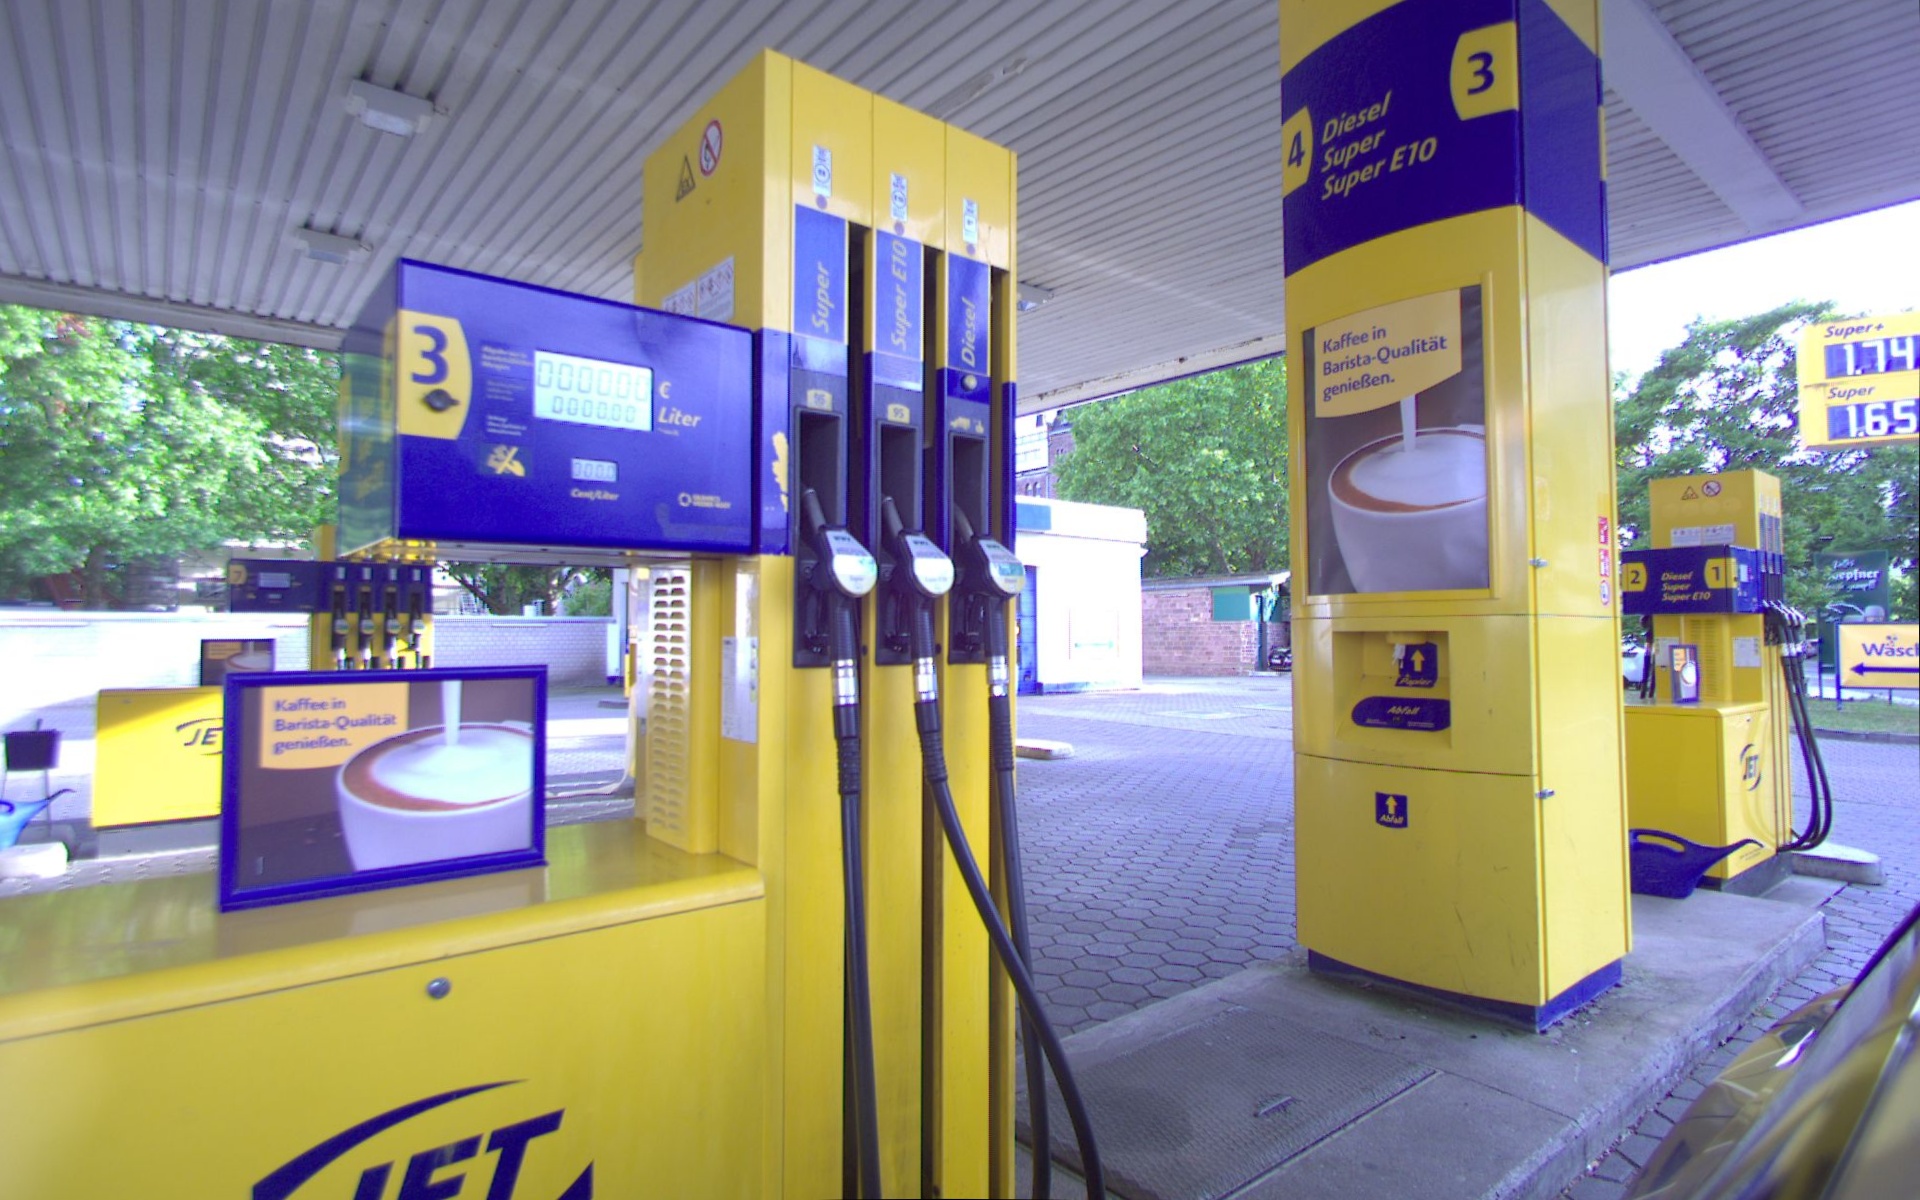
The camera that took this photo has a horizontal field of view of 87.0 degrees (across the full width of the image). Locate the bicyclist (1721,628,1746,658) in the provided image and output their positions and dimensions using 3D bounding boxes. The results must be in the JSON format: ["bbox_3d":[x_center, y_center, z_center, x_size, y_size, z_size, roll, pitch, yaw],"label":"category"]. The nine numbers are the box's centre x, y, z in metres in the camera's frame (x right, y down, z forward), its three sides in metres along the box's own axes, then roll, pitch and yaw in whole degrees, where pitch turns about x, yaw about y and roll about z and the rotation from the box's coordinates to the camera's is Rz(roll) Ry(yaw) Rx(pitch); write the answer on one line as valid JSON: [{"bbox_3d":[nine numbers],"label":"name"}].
[{"bbox_3d":[38.744,2.164,50.692,0.728,1.479,0.908,-2,-3,26],"label":"bicyclist"}]

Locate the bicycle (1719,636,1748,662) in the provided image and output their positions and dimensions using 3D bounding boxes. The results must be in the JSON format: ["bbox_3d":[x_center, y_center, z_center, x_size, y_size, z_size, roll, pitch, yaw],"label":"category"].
[{"bbox_3d":[38.779,2.446,50.764,0.728,1.274,1.921,-2,-3,25],"label":"bicycle"}]

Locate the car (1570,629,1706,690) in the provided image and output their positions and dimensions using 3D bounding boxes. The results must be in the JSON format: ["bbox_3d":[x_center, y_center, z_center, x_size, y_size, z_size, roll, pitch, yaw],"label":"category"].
[{"bbox_3d":[18.234,1.561,27.175,3.923,1.529,1.740,2,-3,-35],"label":"car"}]

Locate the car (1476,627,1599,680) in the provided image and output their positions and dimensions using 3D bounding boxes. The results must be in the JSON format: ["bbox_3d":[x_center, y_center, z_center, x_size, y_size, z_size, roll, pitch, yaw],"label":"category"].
[{"bbox_3d":[17.569,1.640,30.763,3.923,1.529,1.740,3,-3,-35],"label":"car"}]

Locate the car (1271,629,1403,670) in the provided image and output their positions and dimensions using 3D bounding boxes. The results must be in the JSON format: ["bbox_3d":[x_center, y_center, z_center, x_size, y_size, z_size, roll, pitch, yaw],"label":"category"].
[{"bbox_3d":[12.843,1.698,34.512,4.134,1.294,1.751,2,-3,-22],"label":"car"}]

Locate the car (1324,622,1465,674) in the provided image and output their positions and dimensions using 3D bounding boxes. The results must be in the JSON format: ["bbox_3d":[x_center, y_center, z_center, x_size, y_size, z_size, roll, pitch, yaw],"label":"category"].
[{"bbox_3d":[13.802,1.546,32.163,4.134,1.544,1.791,2,-3,-24],"label":"car"}]

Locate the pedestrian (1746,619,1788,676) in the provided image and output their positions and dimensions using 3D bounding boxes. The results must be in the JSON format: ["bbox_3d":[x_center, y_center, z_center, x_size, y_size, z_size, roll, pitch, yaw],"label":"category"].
[{"bbox_3d":[29.755,1.720,37.319,0.923,2.040,1.205,0,-2,25],"label":"pedestrian"}]
